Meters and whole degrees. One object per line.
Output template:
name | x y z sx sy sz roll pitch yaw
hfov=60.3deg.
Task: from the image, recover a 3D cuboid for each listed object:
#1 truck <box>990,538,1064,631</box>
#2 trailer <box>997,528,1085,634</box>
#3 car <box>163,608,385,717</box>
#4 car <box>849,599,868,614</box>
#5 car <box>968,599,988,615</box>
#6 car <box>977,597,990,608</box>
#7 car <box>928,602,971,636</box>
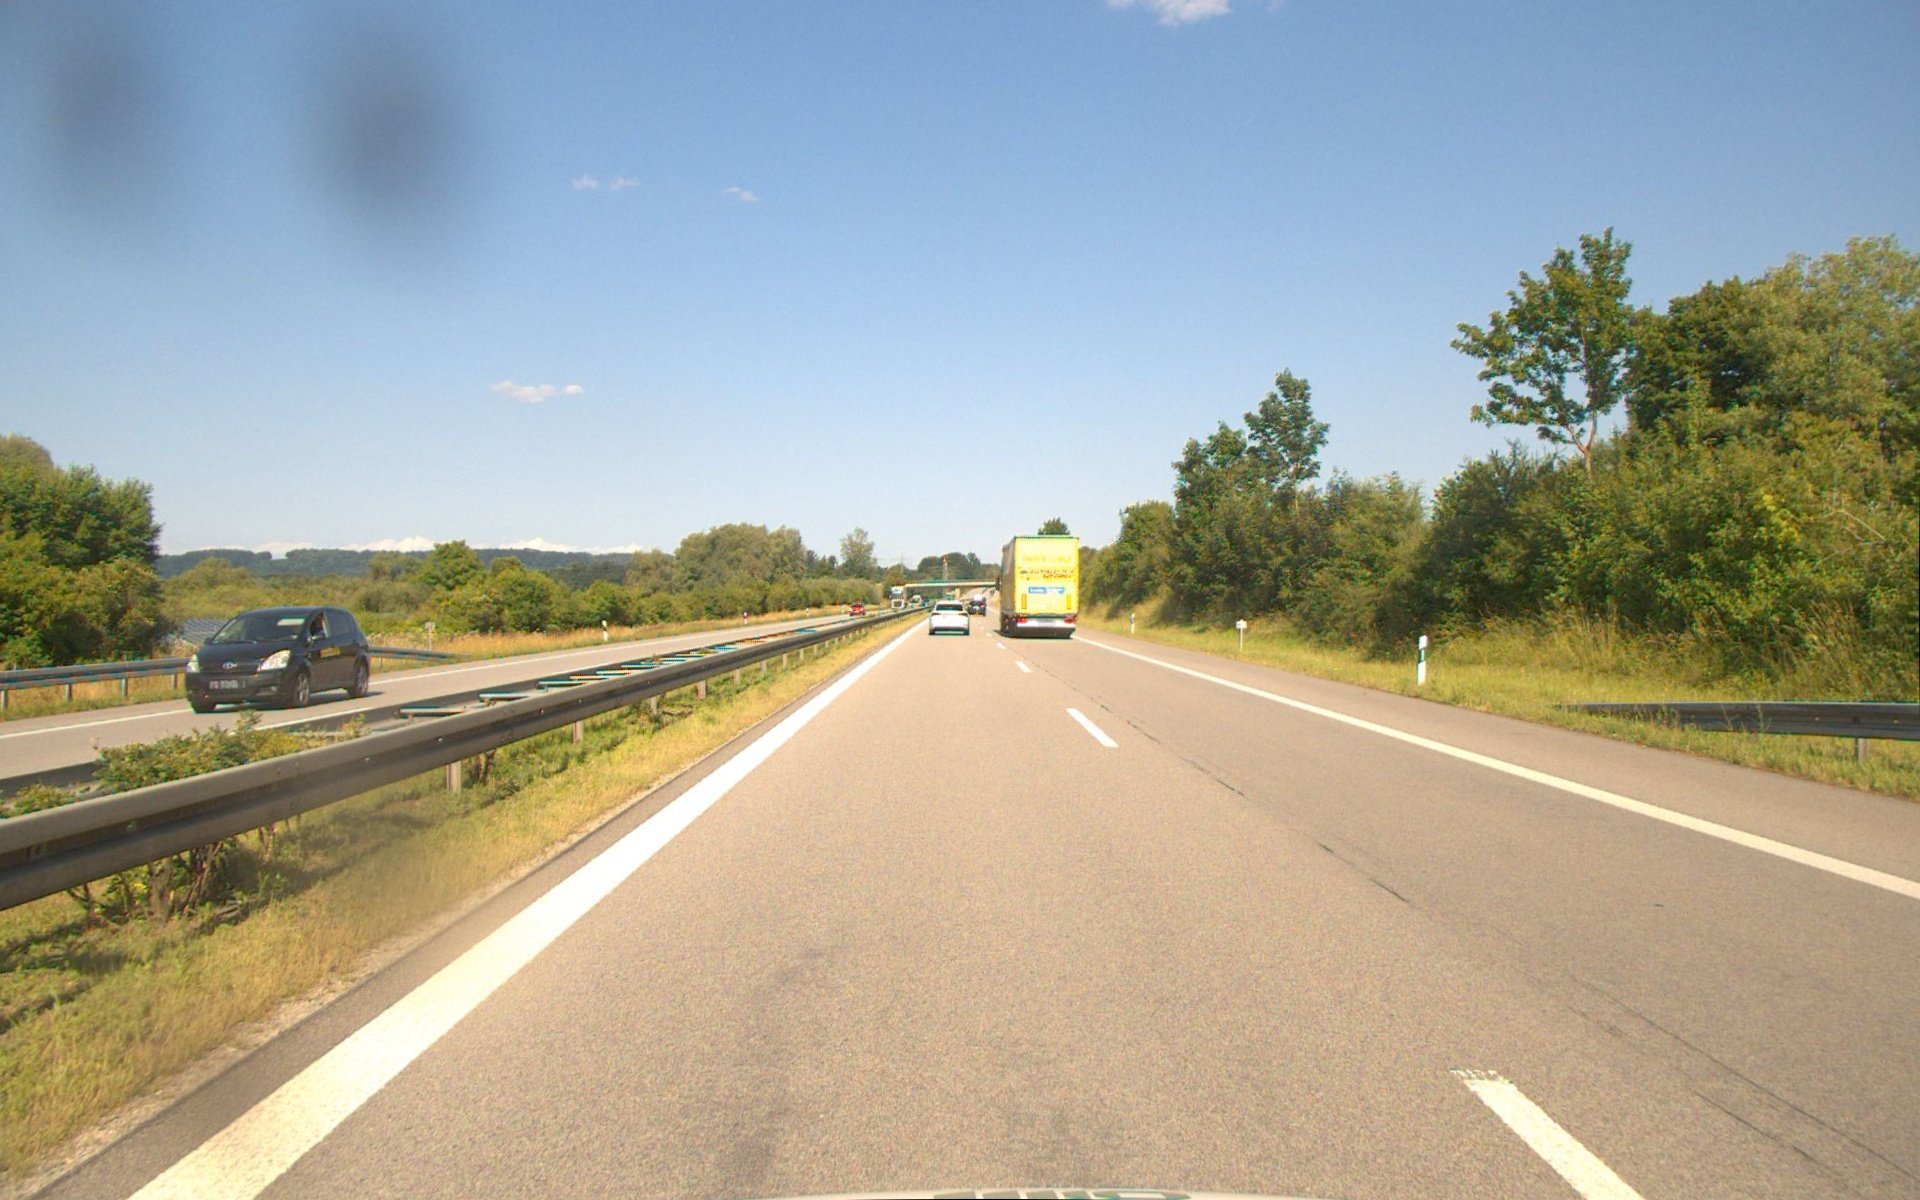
truck | 3.115 -0.700 78.583 3.104 4.186 6.387 1 0 -1
trailer | 3.319 -0.716 71.577 3.119 4.130 13.185 1 0 0
car | -11.384 0.980 27.832 1.793 1.599 4.655 -2 0 -1
car | -11.218 0.677 183.566 1.695 1.537 4.480 -3 0 1
car | 1.688 0.663 156.491 1.805 1.546 4.000 1 0 1
car | 3.737 0.357 260.401 1.863 1.712 4.730 2 0 -1
car | -0.428 0.804 72.122 1.805 1.440 4.000 1 0 1
